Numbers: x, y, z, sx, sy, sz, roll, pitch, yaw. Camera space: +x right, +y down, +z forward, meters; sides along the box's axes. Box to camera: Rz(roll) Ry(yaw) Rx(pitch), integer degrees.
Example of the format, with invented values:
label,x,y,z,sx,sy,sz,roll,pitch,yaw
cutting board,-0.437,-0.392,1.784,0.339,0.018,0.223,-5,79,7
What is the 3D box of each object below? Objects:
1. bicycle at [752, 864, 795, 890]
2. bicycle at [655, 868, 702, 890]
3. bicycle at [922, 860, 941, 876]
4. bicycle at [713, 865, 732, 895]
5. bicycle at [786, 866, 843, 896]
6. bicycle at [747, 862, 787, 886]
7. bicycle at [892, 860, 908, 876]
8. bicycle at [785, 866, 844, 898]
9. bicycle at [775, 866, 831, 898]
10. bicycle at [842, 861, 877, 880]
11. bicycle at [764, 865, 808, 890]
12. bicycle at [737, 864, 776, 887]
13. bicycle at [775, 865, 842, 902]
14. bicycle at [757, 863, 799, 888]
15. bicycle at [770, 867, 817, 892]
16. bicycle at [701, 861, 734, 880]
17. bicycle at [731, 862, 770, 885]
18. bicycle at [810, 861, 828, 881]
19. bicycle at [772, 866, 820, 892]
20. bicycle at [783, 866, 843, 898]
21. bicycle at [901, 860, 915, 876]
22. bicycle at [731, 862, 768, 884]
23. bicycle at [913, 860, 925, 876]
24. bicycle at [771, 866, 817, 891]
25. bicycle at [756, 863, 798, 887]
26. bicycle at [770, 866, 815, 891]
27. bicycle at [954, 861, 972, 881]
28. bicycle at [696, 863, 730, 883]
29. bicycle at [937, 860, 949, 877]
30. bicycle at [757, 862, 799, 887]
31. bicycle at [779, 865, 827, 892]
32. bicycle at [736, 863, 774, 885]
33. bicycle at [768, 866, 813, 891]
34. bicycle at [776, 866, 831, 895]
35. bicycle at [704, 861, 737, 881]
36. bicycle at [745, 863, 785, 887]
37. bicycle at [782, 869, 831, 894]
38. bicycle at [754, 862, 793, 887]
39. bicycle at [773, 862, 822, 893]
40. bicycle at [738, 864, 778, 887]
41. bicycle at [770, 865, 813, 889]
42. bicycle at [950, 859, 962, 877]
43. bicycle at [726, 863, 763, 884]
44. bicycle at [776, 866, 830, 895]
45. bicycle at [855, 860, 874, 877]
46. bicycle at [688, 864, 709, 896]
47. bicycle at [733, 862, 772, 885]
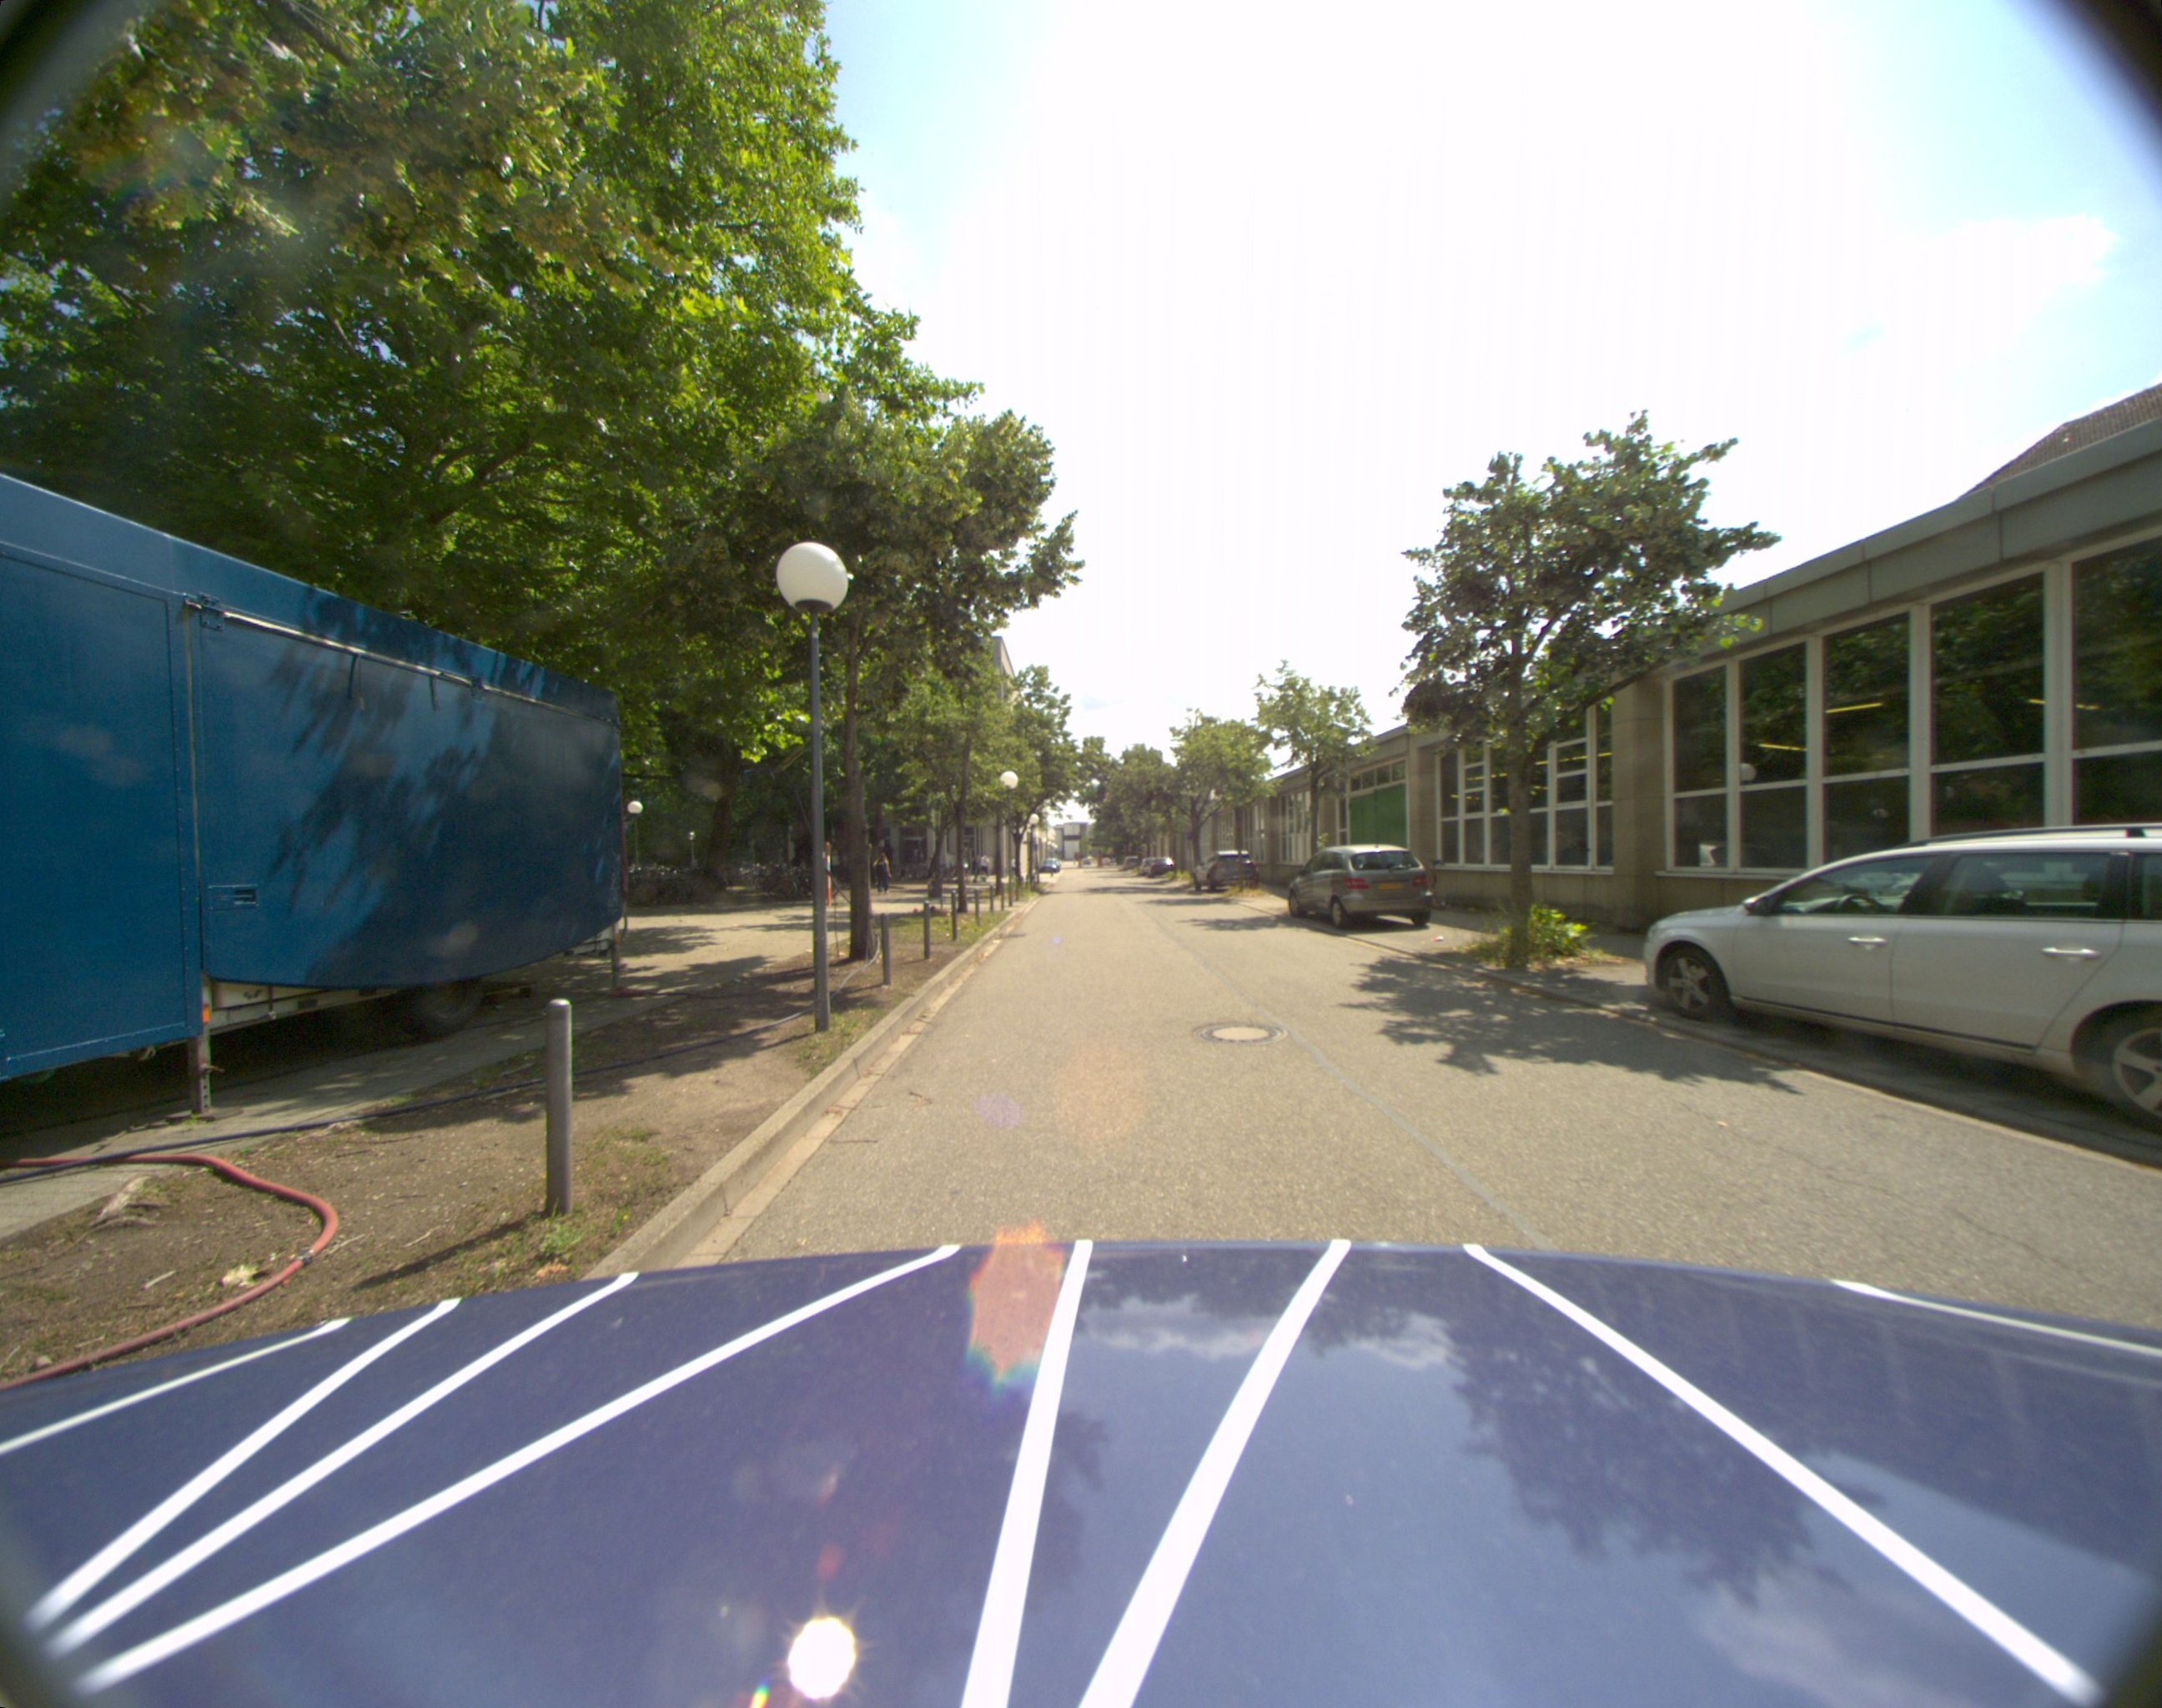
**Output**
label,x,y,z,sx,sy,sz,roll,pitch,yaw
bicycle,-14.333,1.050,35.485,1.796,1.163,0.401,-1,0,-34
bicycle,-18.770,1.145,35.446,1.907,0.973,0.377,0,1,-30
bicycle,-10.217,0.963,51.948,0.491,1.134,1.529,0,-1,19
bicycle,-13.337,0.950,28.328,0.479,1.076,1.900,0,0,-20
bicycle,-9.785,0.987,27.937,1.950,1.076,0.404,-1,0,-12
bicycle,-15.959,1.009,38.609,1.849,1.163,0.344,-1,0,-37
bicycle,-12.384,0.967,52.039,0.481,1.079,1.697,1,-1,5
bicycle,-9.548,0.996,27.266,1.950,1.076,0.404,-1,0,-12
bicycle,-9.645,0.974,26.421,1.773,1.076,0.438,-1,0,-12
bicycle,-13.352,0.973,45.848,1.928,1.103,0.631,-2,2,-37
bicycle,-13.355,1.042,34.376,1.796,1.063,0.425,-1,0,-28
bicycle,-17.056,1.098,40.013,1.849,1.163,0.352,-1,0,-37
bicycle,-9.049,0.967,25.312,2.021,1.160,0.651,-1,0,-12
bicycle,-14.583,1.010,36.591,1.848,1.163,0.401,-1,0,-34
bicycle,-12.144,1.059,32.127,1.796,1.022,0.381,-1,0,-32
bicycle,-23.080,1.048,48.253,1.849,1.163,0.412,-1,0,-39
bicycle,-17.780,1.033,40.905,1.849,1.163,0.352,-1,0,-37
bicycle,-15.543,1.004,45.066,0.476,1.103,1.665,-2,2,-37
bicycle,-11.746,1.035,31.308,1.800,1.022,0.439,-1,0,-32
bicycle,-9.451,0.985,26.846,1.950,1.076,0.404,-1,0,-12
bicycle,-11.892,0.985,52.326,0.481,1.079,1.516,1,-1,5
bicycle,-18.521,1.050,42.496,1.849,1.163,0.387,-1,0,-39
bicycle,-11.131,0.981,52.203,0.460,1.079,1.474,1,-1,1
bicycle,-12.248,1.052,32.484,1.796,1.022,0.381,-1,0,-32
bicycle,-14.888,1.017,37.258,1.848,1.163,0.344,-1,0,-34
bicycle,-12.663,1.073,33.345,1.796,1.063,0.425,-1,0,-30
bicycle,-7.129,0.987,45.743,0.629,1.078,1.684,-3,3,-23
bicycle,-22.461,1.141,46.364,1.849,1.163,0.345,-1,0,-45
bicycle,-9.478,0.978,52.252,0.561,1.134,1.490,1,-1,-3
bicycle,-14.707,0.994,36.955,1.848,1.163,0.344,-1,0,-34
bicycle,-11.338,0.997,31.007,1.742,1.046,0.493,-1,0,-36
bicycle,-17.961,1.088,41.870,1.849,1.163,0.352,-1,0,-37
bicycle,-12.881,1.071,33.727,1.796,1.063,0.425,-1,0,-30
bicycle,-10.529,1.011,28.836,1.916,1.053,0.325,-1,0,-23
bicycle,-22.624,1.056,47.698,1.849,1.163,0.412,-1,0,-39
bicycle,-16.163,1.072,38.888,1.849,1.163,0.344,-1,0,-37
bicycle,-10.800,1.070,29.895,1.741,0.904,0.493,-1,0,-29
bicycle,-15.365,1.011,38.001,0.344,1.163,1.849,0,0,43
bicycle,-11.254,0.923,30.210,1.742,1.148,0.493,-1,0,-36
bicycle,-16.865,1.100,39.689,1.849,1.163,0.352,-1,0,-37
bicycle,-13.301,1.050,34.873,1.796,1.063,0.425,-1,0,-28
bicycle,-8.551,0.945,52.001,0.561,1.135,1.489,1,1,-3
bicycle,-18.999,1.106,42.909,1.849,1.163,0.412,-1,0,-39
bicycle,-10.639,1.011,29.125,1.916,1.053,0.325,-1,0,-23
bicycle,-14.075,0.953,49.484,0.463,1.071,1.829,0,-1,8
bicycle,-14.040,0.940,27.918,0.479,1.076,1.900,0,0,-20
bicycle,-17.566,1.036,40.620,1.849,1.163,0.352,-1,0,-37
